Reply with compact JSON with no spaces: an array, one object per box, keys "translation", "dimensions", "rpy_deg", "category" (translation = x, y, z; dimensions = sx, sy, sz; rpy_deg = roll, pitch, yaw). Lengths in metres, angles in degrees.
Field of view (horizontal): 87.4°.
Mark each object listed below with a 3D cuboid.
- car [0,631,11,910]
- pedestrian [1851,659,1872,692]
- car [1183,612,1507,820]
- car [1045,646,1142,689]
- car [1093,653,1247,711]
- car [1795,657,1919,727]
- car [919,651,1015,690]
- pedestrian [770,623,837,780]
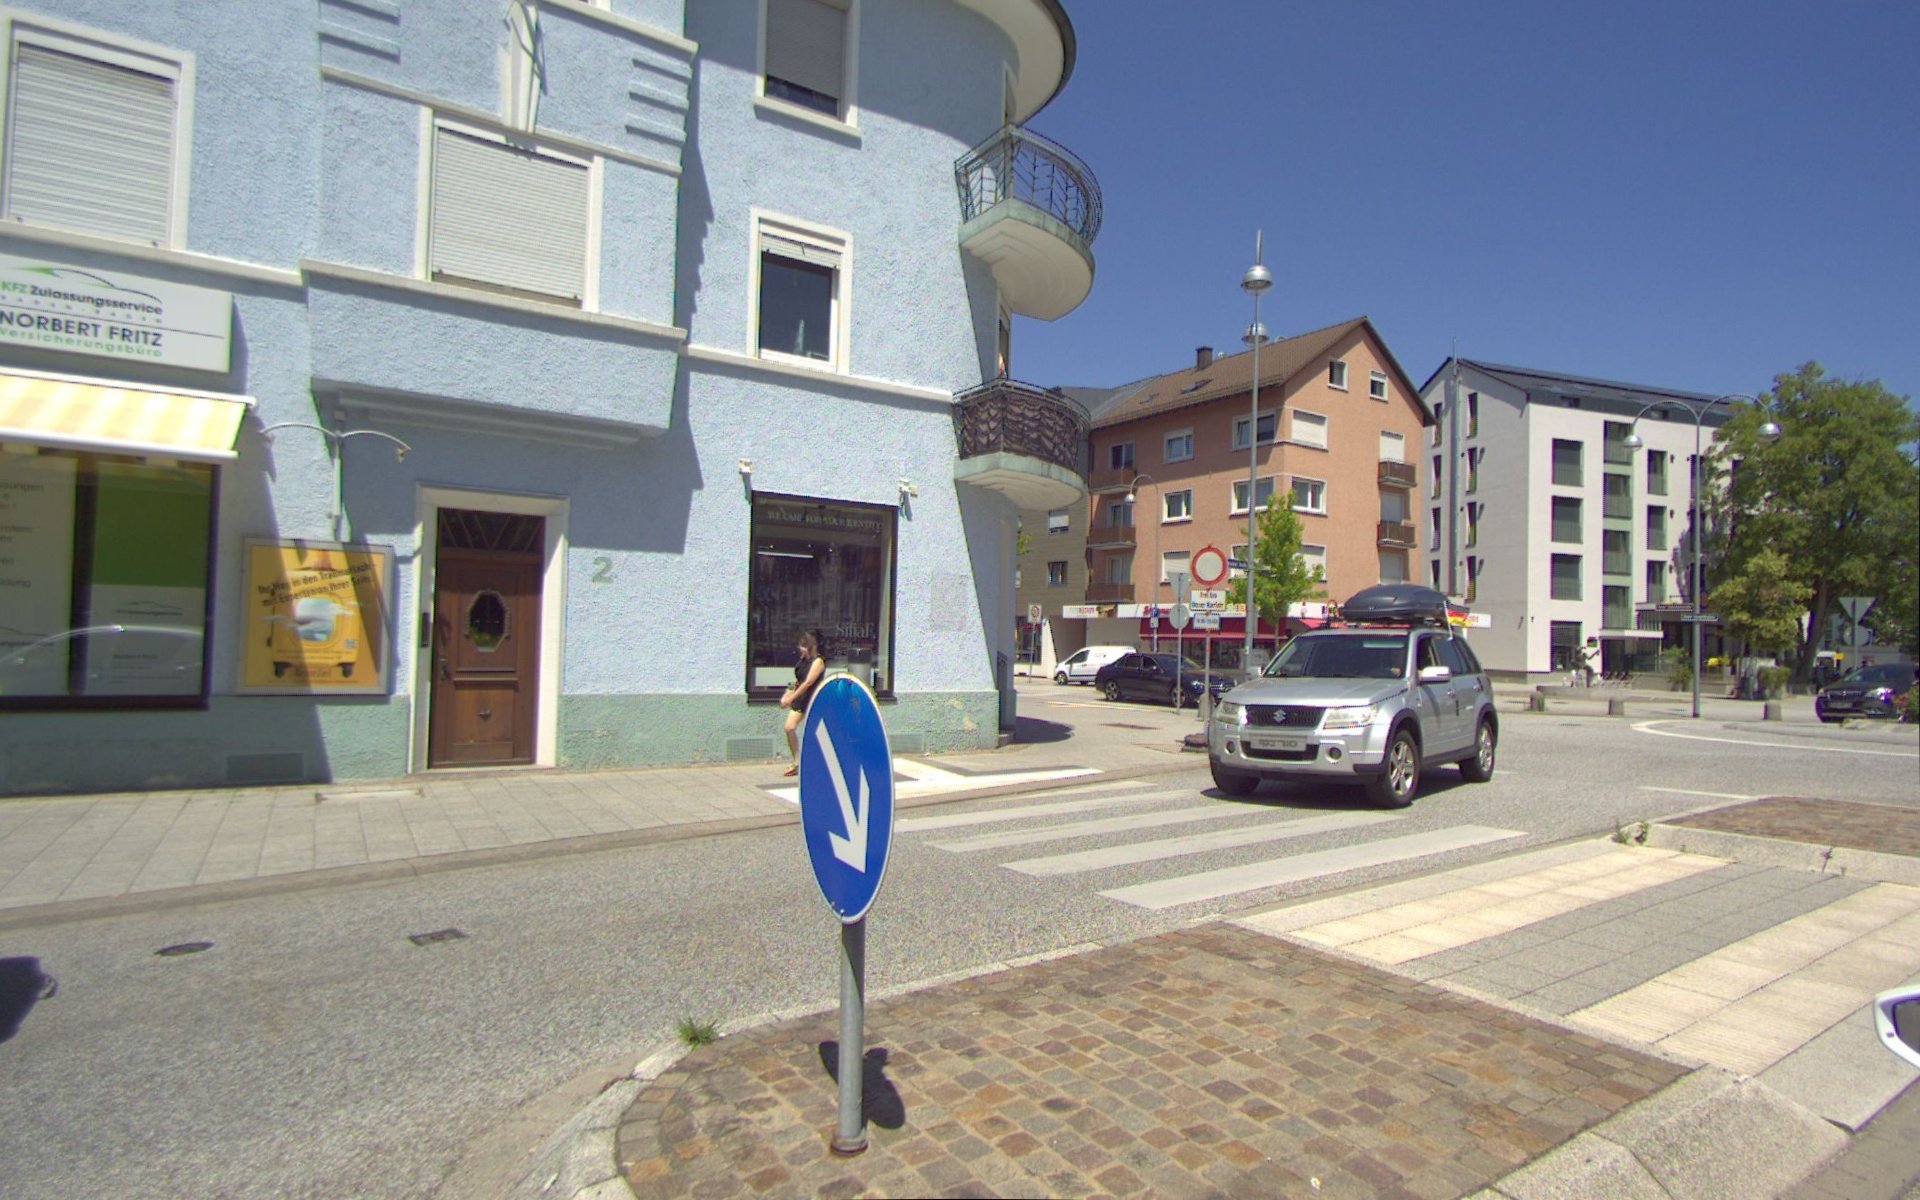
[{"translation":[-4.957,0.789,2.636],"dimensions":[3.443,1.469,1.562],"rpy_deg":[2,-4,-40],"category":"car"},{"translation":[44.110,3.670,49.148],"dimensions":[0.553,1.596,0.534],"rpy_deg":[2,-3,-19],"category":"pedestrian"},{"translation":[4.159,1.082,10.458],"dimensions":[1.811,1.710,4.181],"rpy_deg":[-3,-4,41],"category":"car"},{"translation":[5.831,2.912,44.072],"dimensions":[3.946,1.772,1.791],"rpy_deg":[-2,-4,45],"category":"car"},{"translation":[5.899,2.276,28.715],"dimensions":[1.759,1.421,4.472],"rpy_deg":[0,-2,-31],"category":"car"},{"translation":[24.030,2.360,25.896],"dimensions":[3.990,1.664,1.800],"rpy_deg":[2,-3,-13],"category":"car"},{"translation":[0.222,2.709,39.092],"dimensions":[1.763,1.421,3.909],"rpy_deg":[3,-3,-37],"category":"car"},{"translation":[-1.652,1.058,10.641],"dimensions":[0.535,1.606,0.515],"rpy_deg":[0,-3,11],"category":"pedestrian"}]
